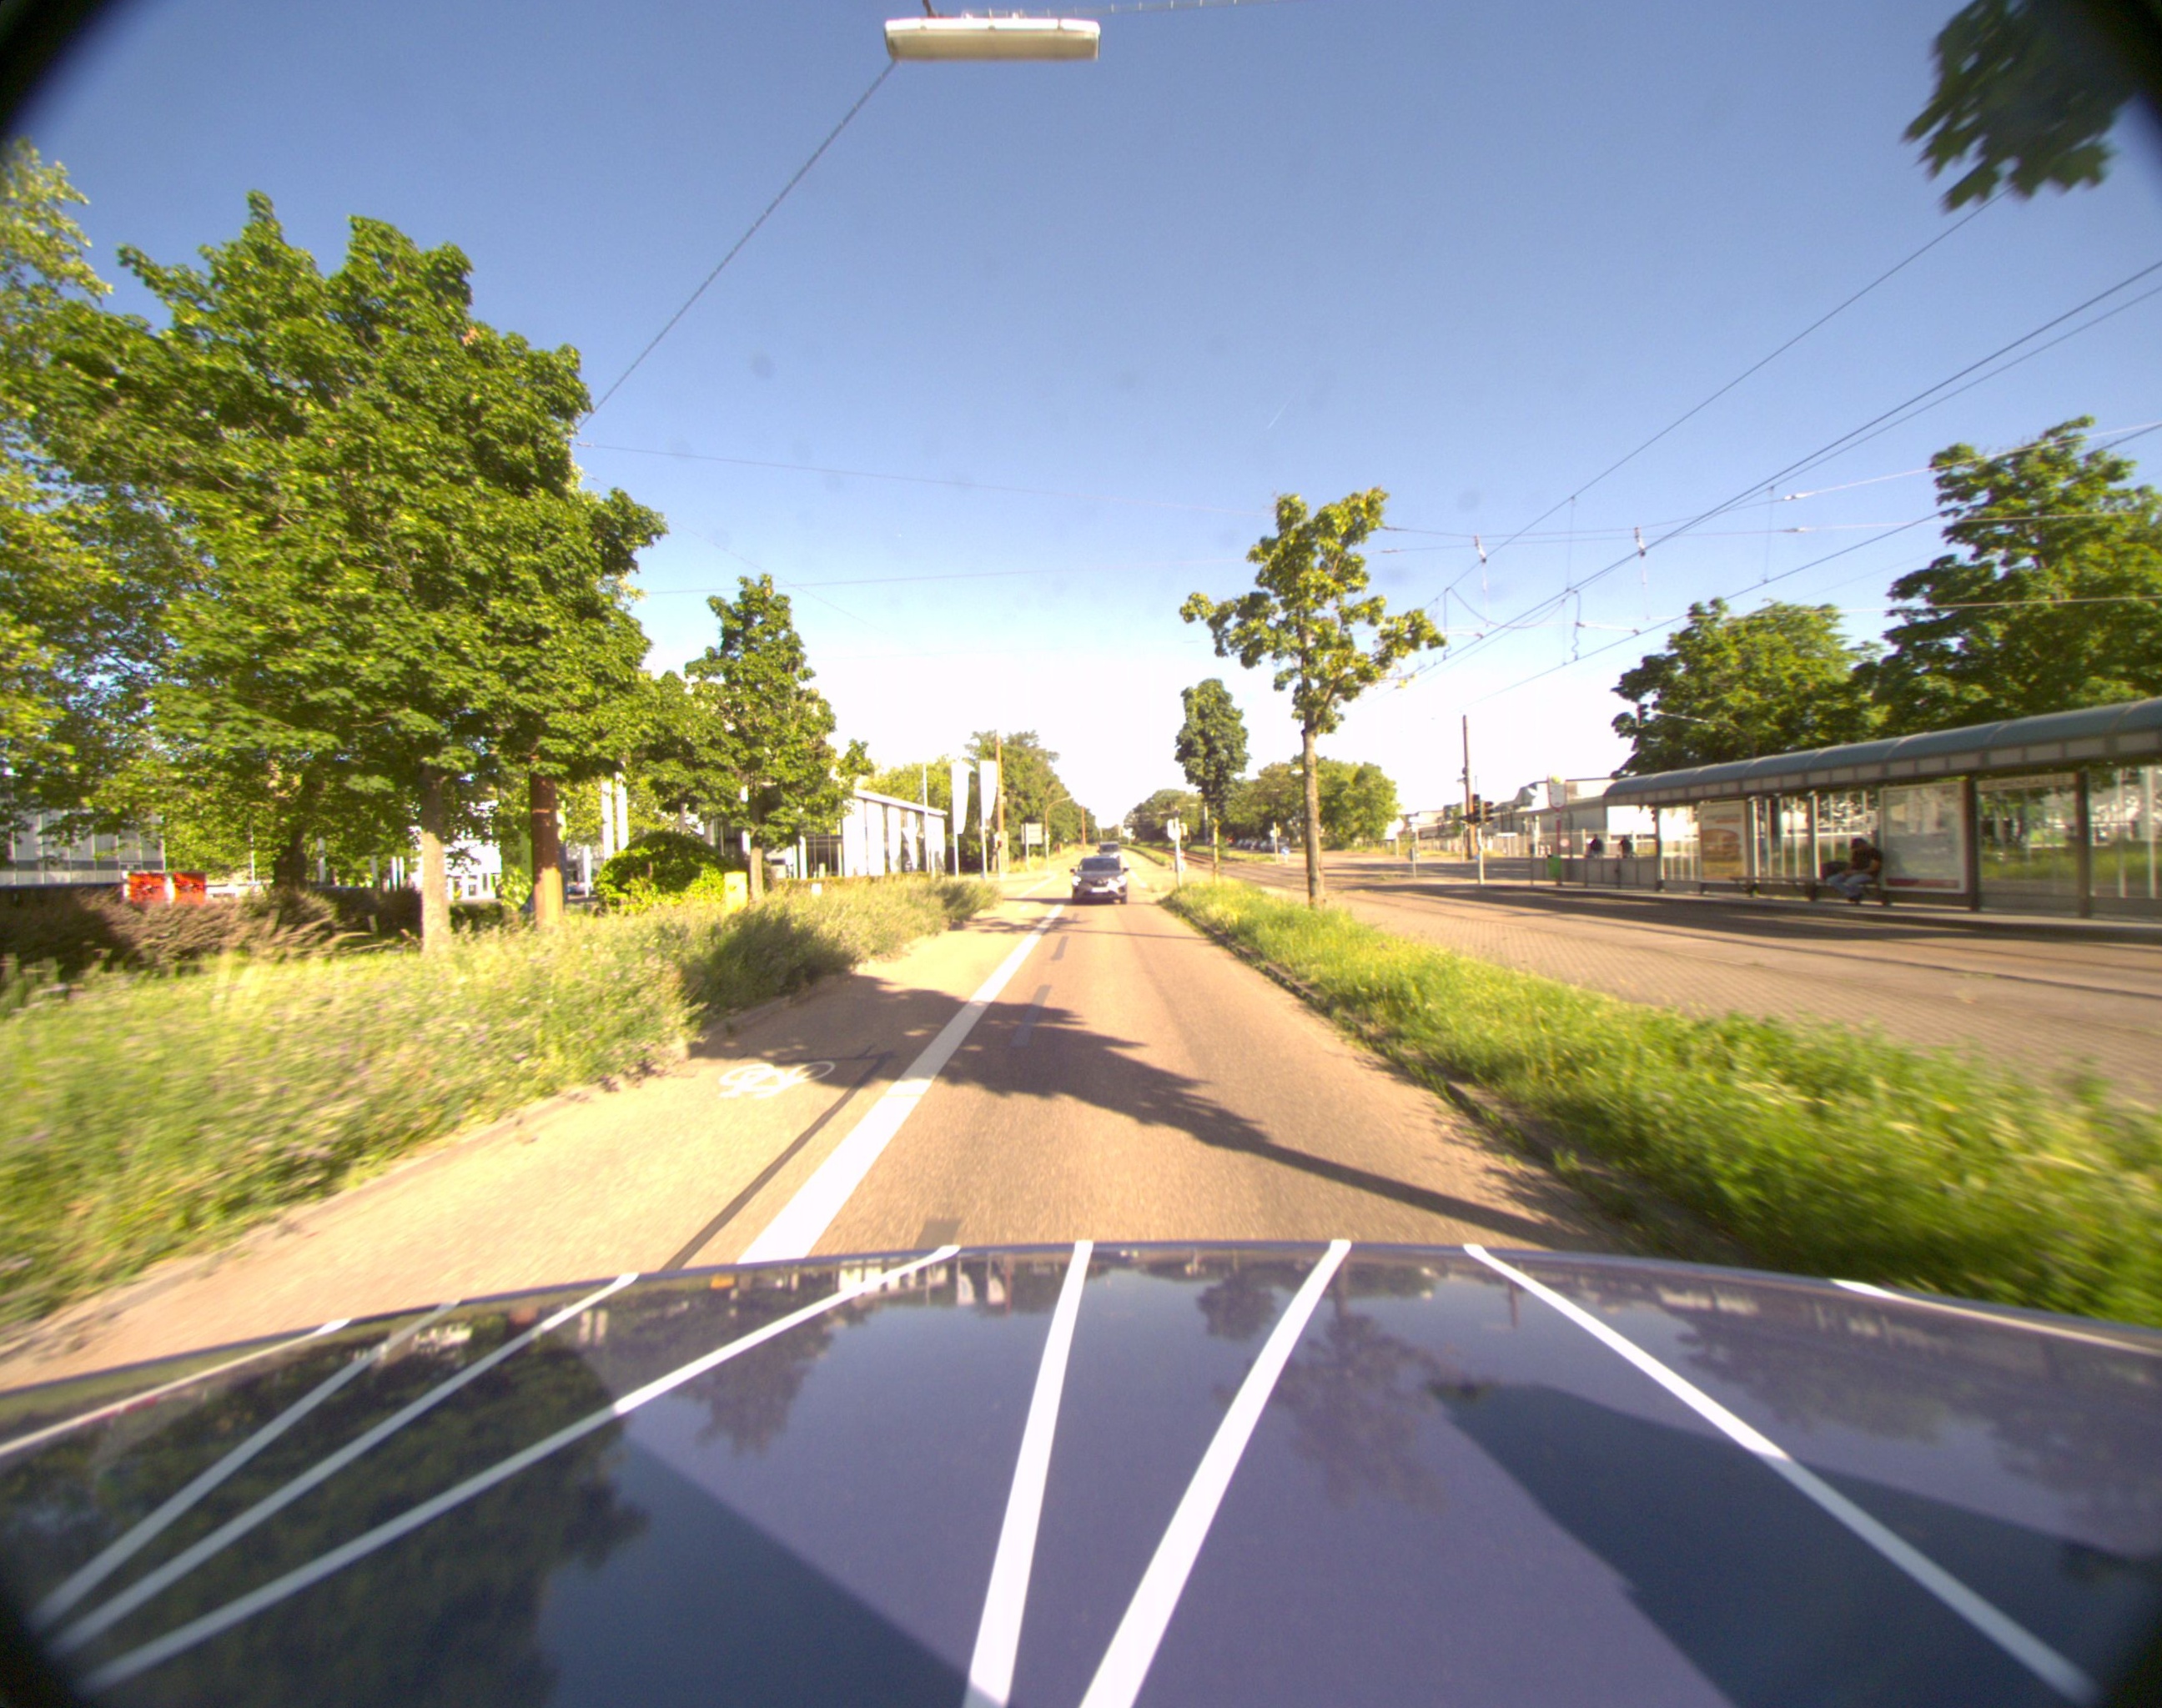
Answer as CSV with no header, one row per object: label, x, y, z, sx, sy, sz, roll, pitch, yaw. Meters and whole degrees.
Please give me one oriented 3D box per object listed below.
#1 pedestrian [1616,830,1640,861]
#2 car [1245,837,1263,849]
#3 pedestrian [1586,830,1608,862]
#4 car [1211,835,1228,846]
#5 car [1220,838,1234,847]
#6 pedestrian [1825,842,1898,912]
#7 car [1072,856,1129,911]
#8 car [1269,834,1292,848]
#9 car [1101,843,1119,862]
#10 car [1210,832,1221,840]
pedestrian,28.554,-0.430,39.650,0.728,1.559,0.791,-3,1,-38
car,23.715,-1.504,104.136,1.701,1.575,3.456,-1,0,-1
pedestrian,28.036,-0.442,41.305,0.639,1.667,0.805,-3,1,-38
car,19.990,-1.976,109.944,1.701,1.575,3.456,-1,0,-1
car,25.937,-2.071,135.042,1.701,1.575,3.456,-1,0,-1
pedestrian,14.222,0.402,13.859,0.650,1.241,0.681,0,0,-8
car,0.569,0.890,25.309,1.750,1.585,4.246,-1,1,-1
car,24.440,-1.551,93.181,1.772,1.575,3.456,-1,0,-1
car,2.828,-0.151,74.804,1.555,1.764,3.456,-1,0,-1
car,26.957,-3.634,152.374,1.701,1.575,3.456,-1,0,-1
